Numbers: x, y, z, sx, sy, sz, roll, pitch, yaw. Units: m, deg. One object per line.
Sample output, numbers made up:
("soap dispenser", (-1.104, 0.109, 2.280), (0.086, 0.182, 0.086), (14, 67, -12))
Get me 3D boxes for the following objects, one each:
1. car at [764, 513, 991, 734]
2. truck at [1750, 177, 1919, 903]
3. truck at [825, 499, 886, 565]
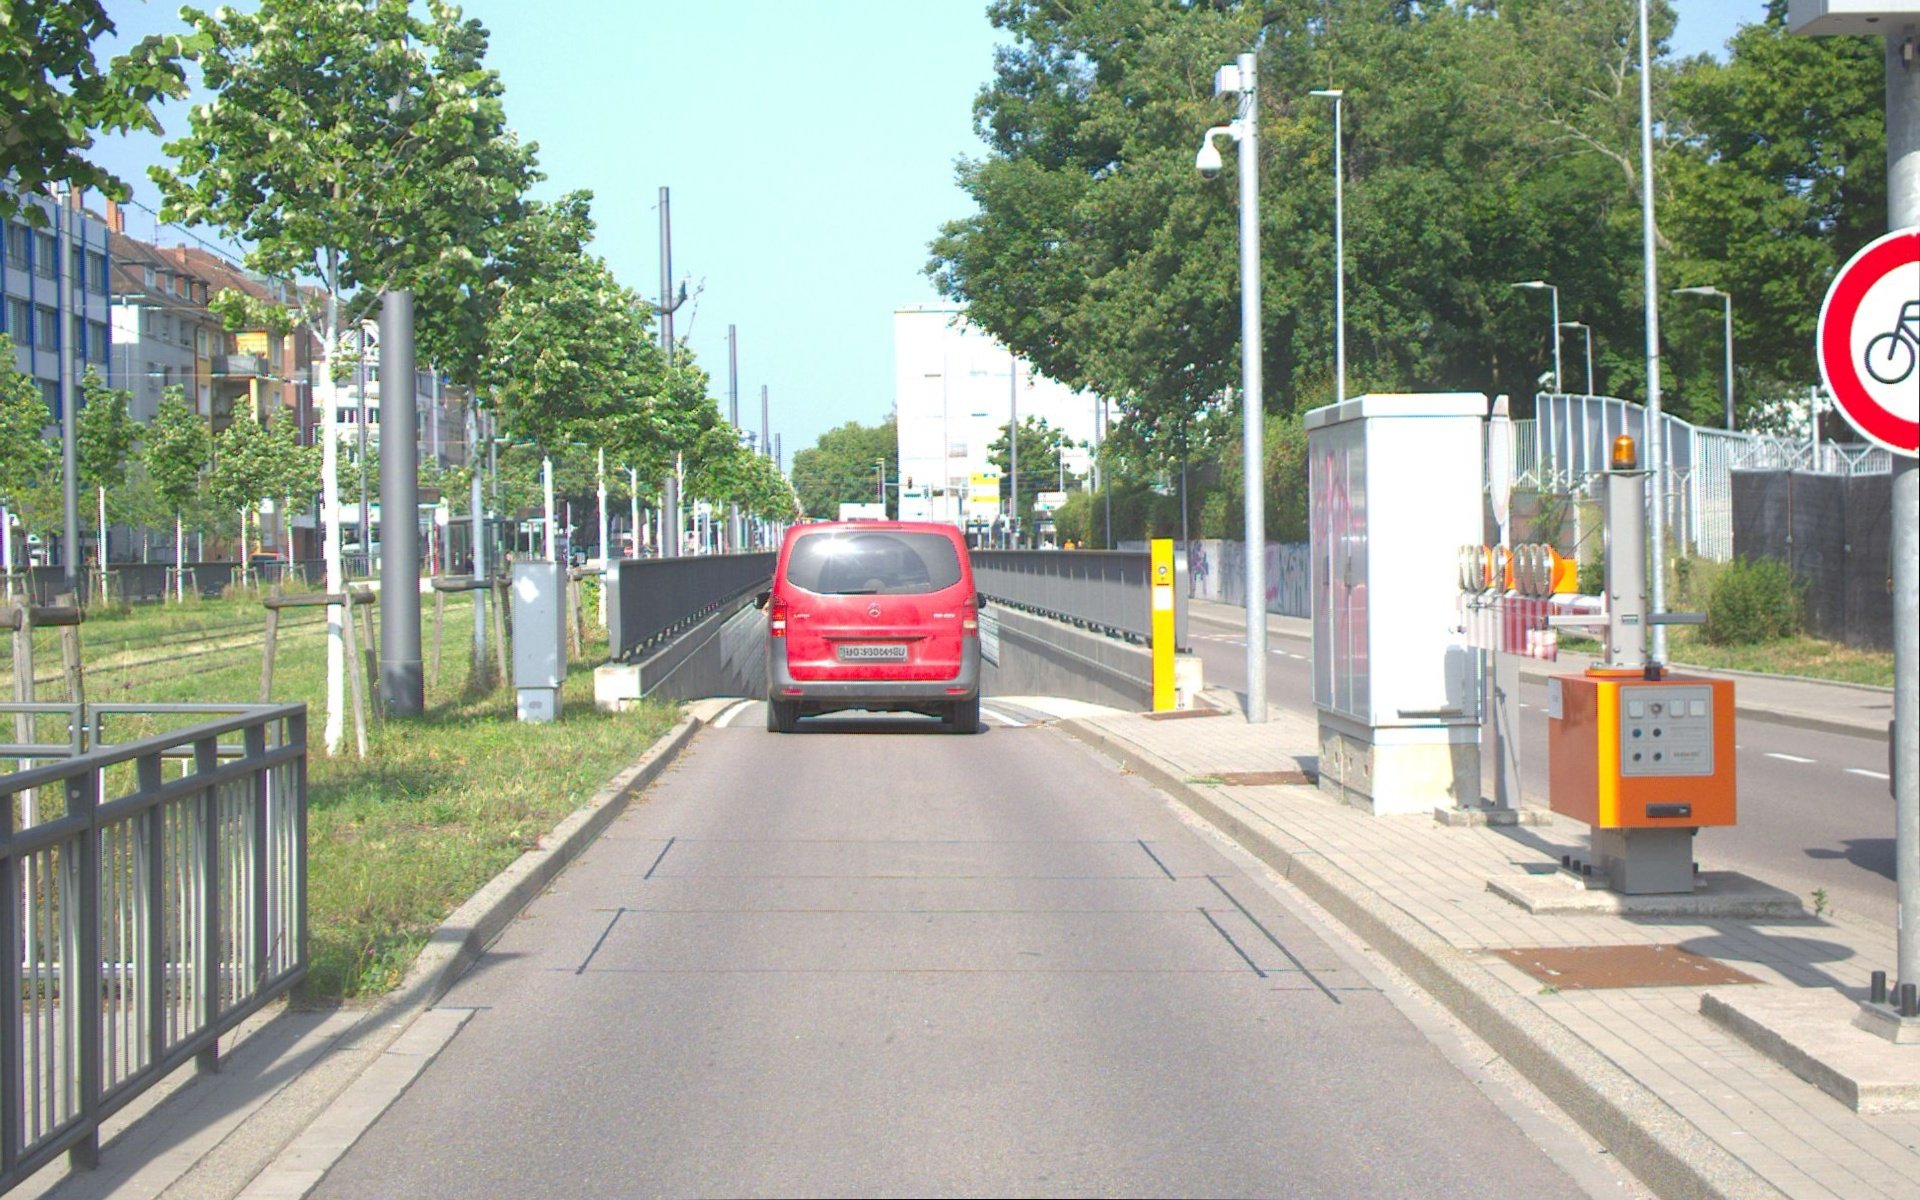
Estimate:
("car", (-0.710, 0.169, 31.313), (1.901, 1.853, 4.000), (1, 1, 0))
("truck", (5.333, -0.226, 13.092), (2.502, 3.050, 7.821), (1, 0, -2))
("truck", (-6.132, -3.939, 200.696), (3.390, 3.713, 10.453), (-1, 1, -2))
